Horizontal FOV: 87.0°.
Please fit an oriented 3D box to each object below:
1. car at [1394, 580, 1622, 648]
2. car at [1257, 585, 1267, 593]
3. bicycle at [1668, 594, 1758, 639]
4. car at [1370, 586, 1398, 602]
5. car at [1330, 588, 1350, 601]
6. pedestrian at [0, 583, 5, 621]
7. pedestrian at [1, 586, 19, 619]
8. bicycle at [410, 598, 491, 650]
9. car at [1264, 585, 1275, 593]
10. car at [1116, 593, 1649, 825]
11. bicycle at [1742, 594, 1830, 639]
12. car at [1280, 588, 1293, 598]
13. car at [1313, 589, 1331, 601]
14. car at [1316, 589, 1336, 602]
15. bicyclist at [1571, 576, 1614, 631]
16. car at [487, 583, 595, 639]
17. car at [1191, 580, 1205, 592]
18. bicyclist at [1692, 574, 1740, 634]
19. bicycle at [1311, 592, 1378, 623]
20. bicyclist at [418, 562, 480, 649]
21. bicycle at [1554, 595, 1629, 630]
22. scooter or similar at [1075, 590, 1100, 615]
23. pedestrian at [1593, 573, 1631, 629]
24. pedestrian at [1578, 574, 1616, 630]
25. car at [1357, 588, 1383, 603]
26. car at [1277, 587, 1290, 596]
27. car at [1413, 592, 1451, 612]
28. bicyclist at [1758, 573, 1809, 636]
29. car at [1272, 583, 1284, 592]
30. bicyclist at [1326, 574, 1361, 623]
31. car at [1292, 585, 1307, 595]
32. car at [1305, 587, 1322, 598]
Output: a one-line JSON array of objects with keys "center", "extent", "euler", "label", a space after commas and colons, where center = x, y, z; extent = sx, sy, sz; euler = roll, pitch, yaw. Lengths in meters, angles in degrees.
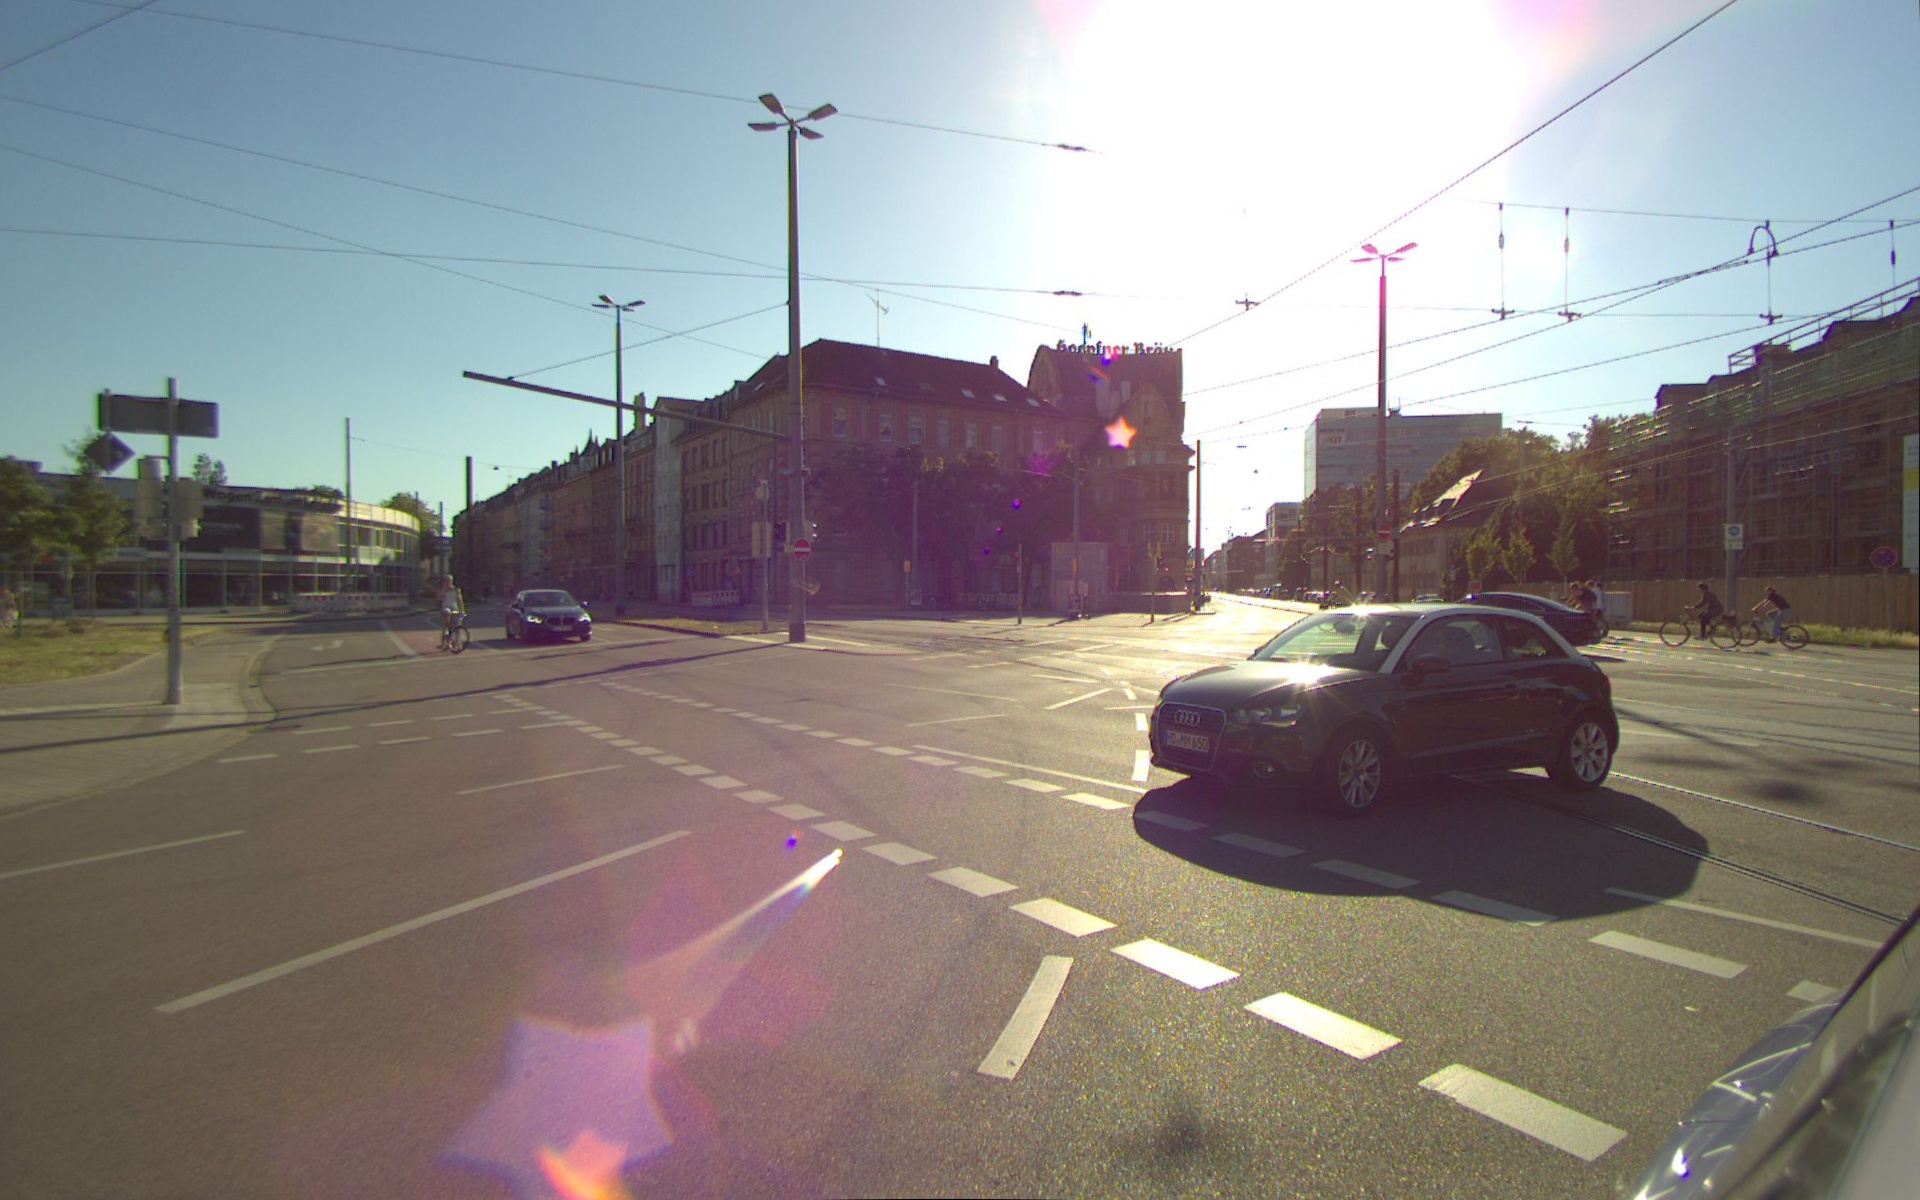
[{"center": [13.414, 0.283, 25.016], "extent": [1.785, 1.511, 4.648], "euler": [0, 1, -40], "label": "car"}, {"center": [66.611, -2.419, 223.142], "extent": [1.729, 1.483, 4.004], "euler": [0, -1, 12], "label": "car"}, {"center": [20.418, 0.436, 27.474], "extent": [1.897, 1.137, 0.637], "euler": [1, -2, 45], "label": "bicycle"}, {"center": [40.673, -0.557, 97.195], "extent": [1.729, 1.483, 4.004], "euler": [0, -1, 12], "label": "car"}, {"center": [45.736, -0.669, 121.873], "extent": [1.729, 1.483, 4.004], "euler": [0, -1, 12], "label": "car"}, {"center": [-39.093, 0.069, 40.778], "extent": [0.826, 1.534, 0.715], "euler": [0, 0, 34], "label": "pedestrian"}, {"center": [-38.716, 0.093, 41.246], "extent": [0.569, 1.331, 0.407], "euler": [0, 0, 34], "label": "pedestrian"}, {"center": [-12.490, 0.552, 24.765], "extent": [1.018, 1.137, 2.524], "euler": [-3, 3, -45], "label": "bicycle"}, {"center": [61.763, -2.207, 202.077], "extent": [1.729, 1.483, 4.004], "euler": [0, -1, 12], "label": "car"}, {"center": [3.256, 0.664, 7.791], "extent": [3.752, 1.405, 1.699], "euler": [0, 1, -25], "label": "car"}, {"center": [22.393, 0.440, 27.455], "extent": [0.637, 1.137, 1.772], "euler": [3, -2, -43], "label": "bicycle"}, {"center": [56.260, -1.236, 174.436], "extent": [1.729, 1.626, 4.004], "euler": [0, -1, 12], "label": "car"}, {"center": [47.396, -0.669, 132.492], "extent": [1.729, 1.483, 4.004], "euler": [0, -1, 12], "label": "car"}, {"center": [46.107, -0.560, 127.553], "extent": [1.729, 1.483, 4.004], "euler": [0, -1, 12], "label": "car"}, {"center": [19.988, 0.094, 31.986], "extent": [0.637, 1.716, 0.973], "euler": [1, 0, -41], "label": "bicyclist"}, {"center": [-11.931, 0.247, 28.664], "extent": [1.962, 1.471, 3.999], "euler": [0, 1, -36], "label": "car"}, {"center": [44.902, -2.636, 191.005], "extent": [1.963, 2.039, 3.996], "euler": [2, -1, 3], "label": "car"}, {"center": [20.482, 0.115, 27.424], "extent": [0.972, 1.589, 0.638], "euler": [1, -2, 45], "label": "bicyclist"}, {"center": [13.793, 0.264, 36.345], "extent": [2.095, 1.040, 0.757], "euler": [2, 0, 39], "label": "bicycle"}, {"center": [-12.503, 0.113, 24.775], "extent": [1.018, 2.038, 1.141], "euler": [-3, 2, -45], "label": "bicyclist"}, {"center": [19.960, 0.378, 32.024], "extent": [0.637, 1.040, 1.904], "euler": [1, 0, -40], "label": "bicycle"}, {"center": [6.311, 0.123, 50.020], "extent": [0.715, 1.216, 1.449], "euler": [1, 0, -14], "label": "scooter or similar"}, {"center": [22.360, 0.051, 34.708], "extent": [0.676, 1.872, 0.821], "euler": [2, -1, -19], "label": "pedestrian"}, {"center": [21.695, 0.067, 34.486], "extent": [0.676, 1.872, 0.821], "euler": [2, -1, -19], "label": "pedestrian"}, {"center": [41.684, -0.442, 102.978], "extent": [1.729, 1.483, 4.004], "euler": [0, -1, 12], "label": "car"}, {"center": [57.862, -1.564, 180.995], "extent": [1.729, 1.483, 4.004], "euler": [0, -1, 12], "label": "car"}, {"center": [36.637, 0.195, 78.649], "extent": [1.729, 1.483, 4.004], "euler": [0, -1, 12], "label": "car"}, {"center": [22.374, 0.121, 27.500], "extent": [0.637, 1.683, 0.973], "euler": [3, -2, -43], "label": "bicyclist"}, {"center": [58.361, -2.226, 185.699], "extent": [1.729, 1.483, 4.004], "euler": [0, -1, 12], "label": "car"}, {"center": [13.782, -0.070, 36.347], "extent": [0.970, 1.716, 0.757], "euler": [1, 0, 38], "label": "bicyclist"}, {"center": [51.693, -1.518, 154.214], "extent": [1.729, 1.483, 4.004], "euler": [0, -1, 12], "label": "car"}, {"center": [49.036, -1.020, 140.333], "extent": [1.729, 1.483, 4.004], "euler": [0, -1, 12], "label": "car"}]
